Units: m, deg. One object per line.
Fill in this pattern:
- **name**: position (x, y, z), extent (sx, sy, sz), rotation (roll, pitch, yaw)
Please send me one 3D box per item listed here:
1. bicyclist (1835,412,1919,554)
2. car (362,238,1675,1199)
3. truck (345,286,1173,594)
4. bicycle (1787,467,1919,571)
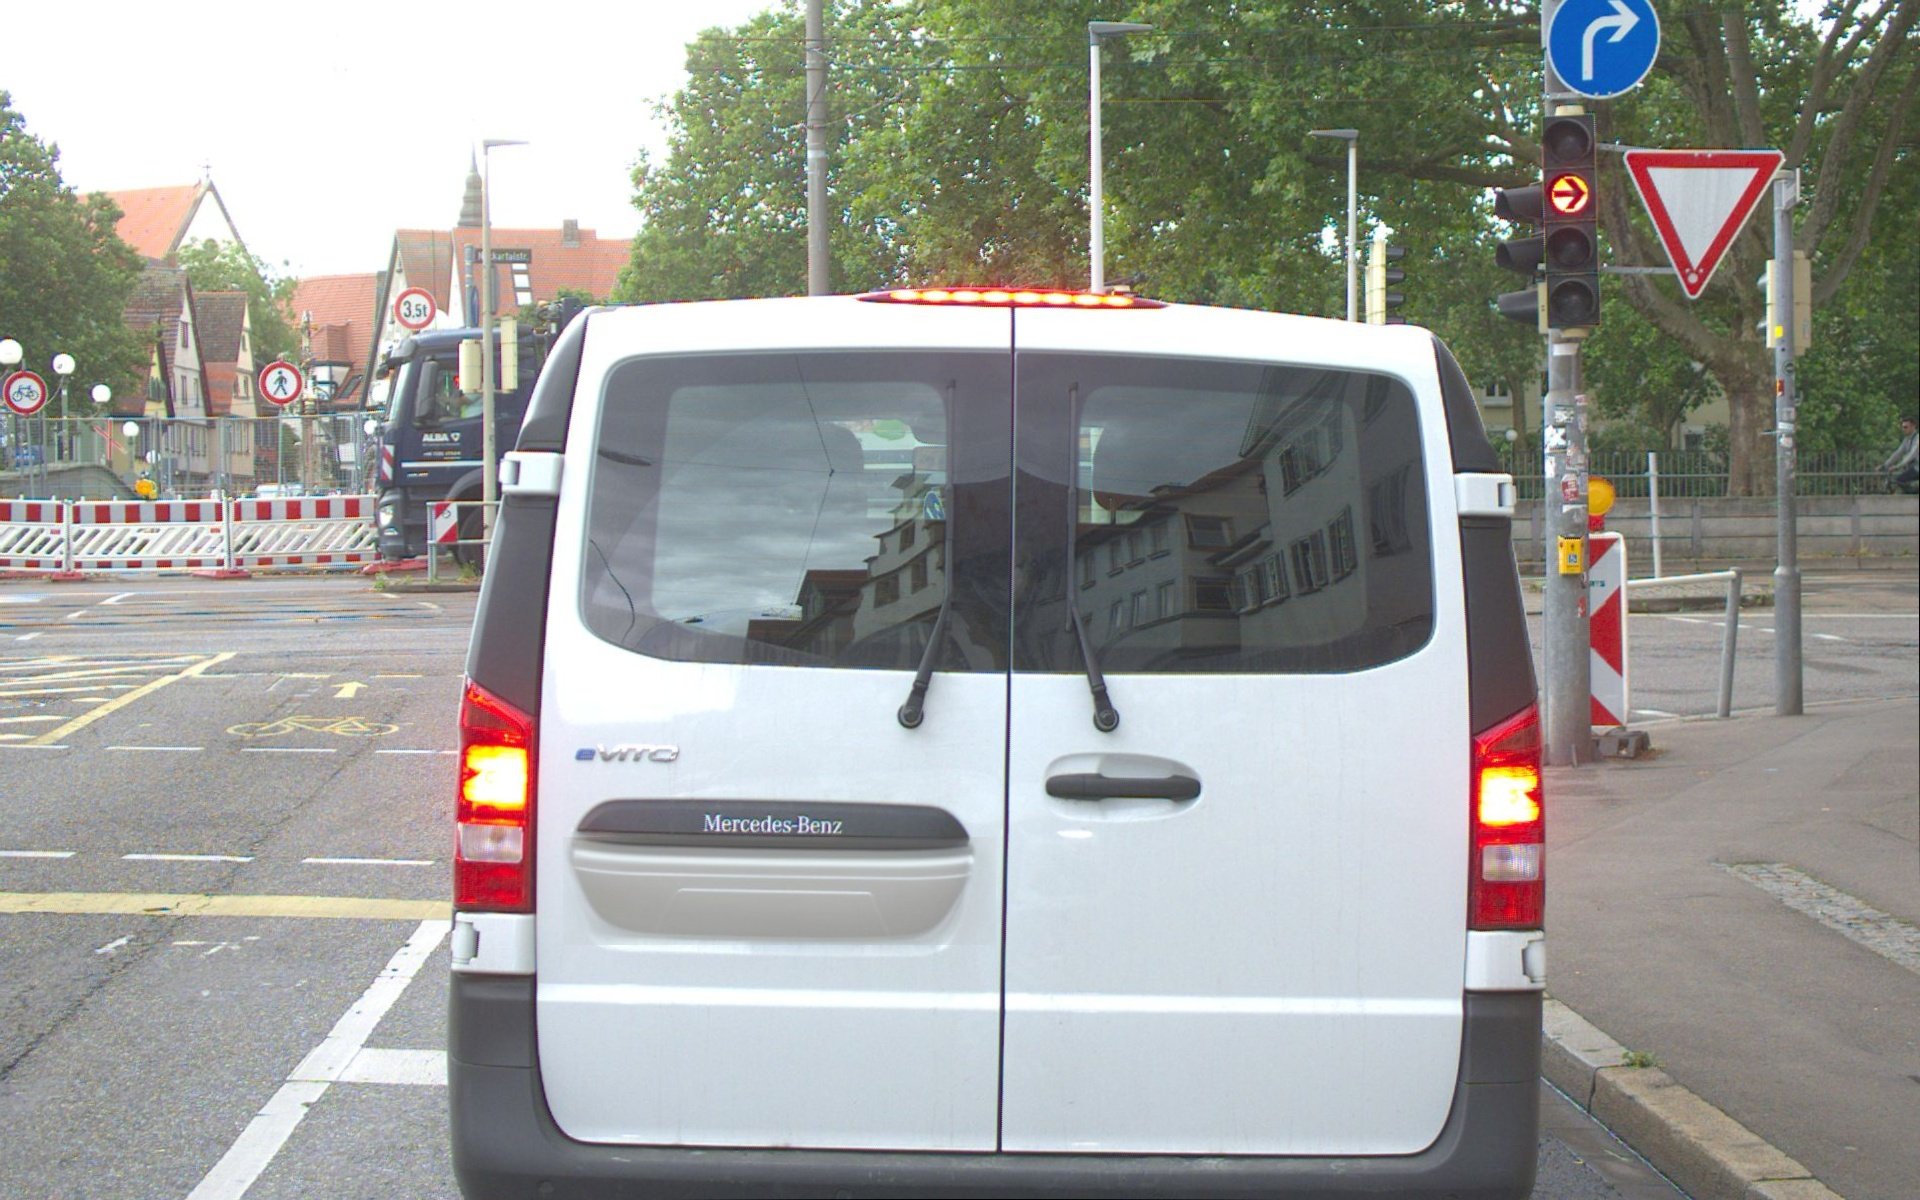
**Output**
- **bicyclist**: position (14.472, -1.789, 52.868), extent (1.563, 2.148, 1.248), rotation (-1, 1, -14)
- **car**: position (-0.005, 0.317, 7.385), extent (1.993, 1.916, 4.250), rotation (1, 3, -3)
- **truck**: position (-2.546, -1.974, 43.216), extent (10.182, 3.683, 2.272), rotation (0, 1, -10)
- **bicycle**: position (14.505, -1.250, 52.887), extent (3.144, 1.564, 1.471), rotation (-1, 1, -14)
